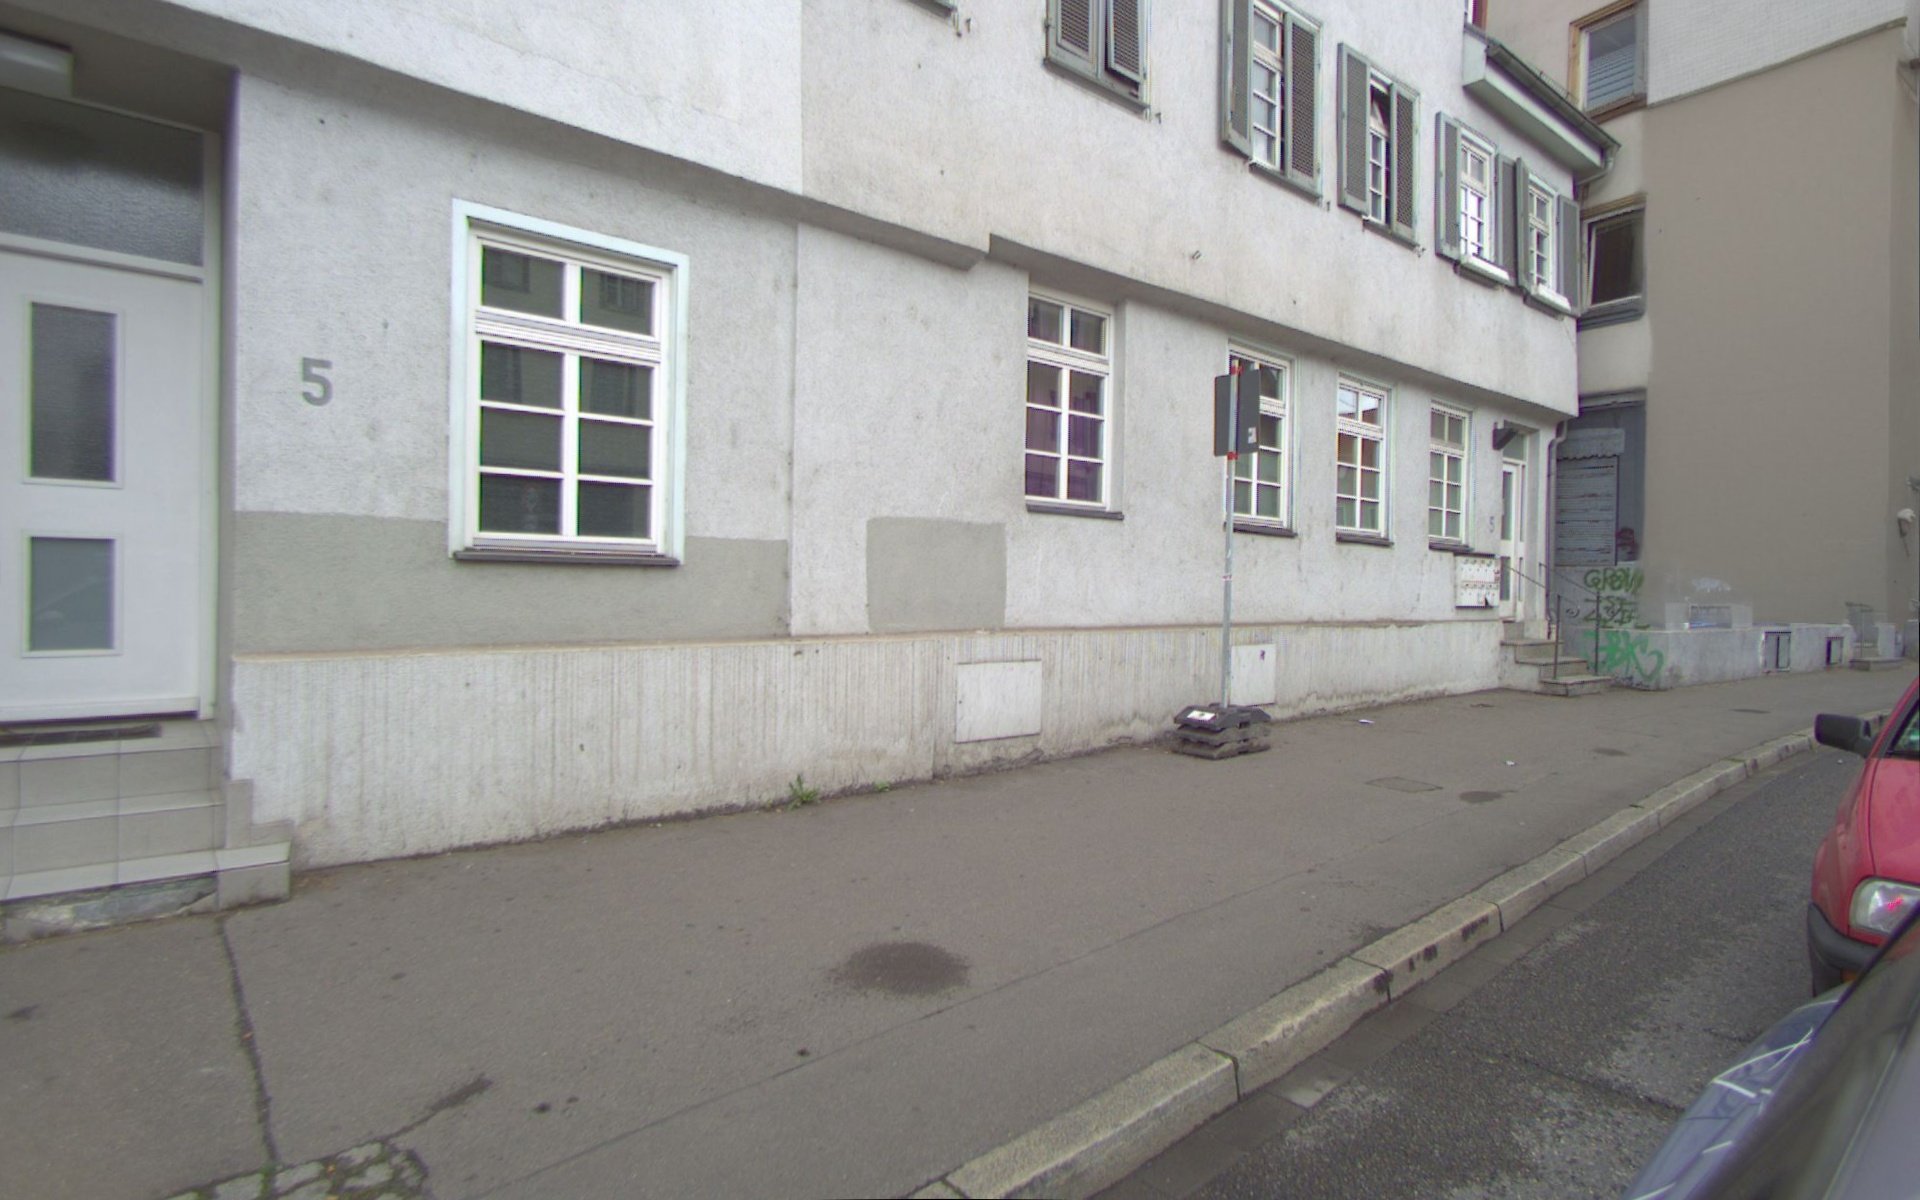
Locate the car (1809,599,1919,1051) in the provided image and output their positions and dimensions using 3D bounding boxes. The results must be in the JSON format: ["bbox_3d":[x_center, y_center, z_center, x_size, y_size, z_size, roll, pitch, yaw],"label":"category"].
[{"bbox_3d":[5.054,0.737,4.135,3.930,1.485,1.802,0,-2,-41],"label":"car"}]
